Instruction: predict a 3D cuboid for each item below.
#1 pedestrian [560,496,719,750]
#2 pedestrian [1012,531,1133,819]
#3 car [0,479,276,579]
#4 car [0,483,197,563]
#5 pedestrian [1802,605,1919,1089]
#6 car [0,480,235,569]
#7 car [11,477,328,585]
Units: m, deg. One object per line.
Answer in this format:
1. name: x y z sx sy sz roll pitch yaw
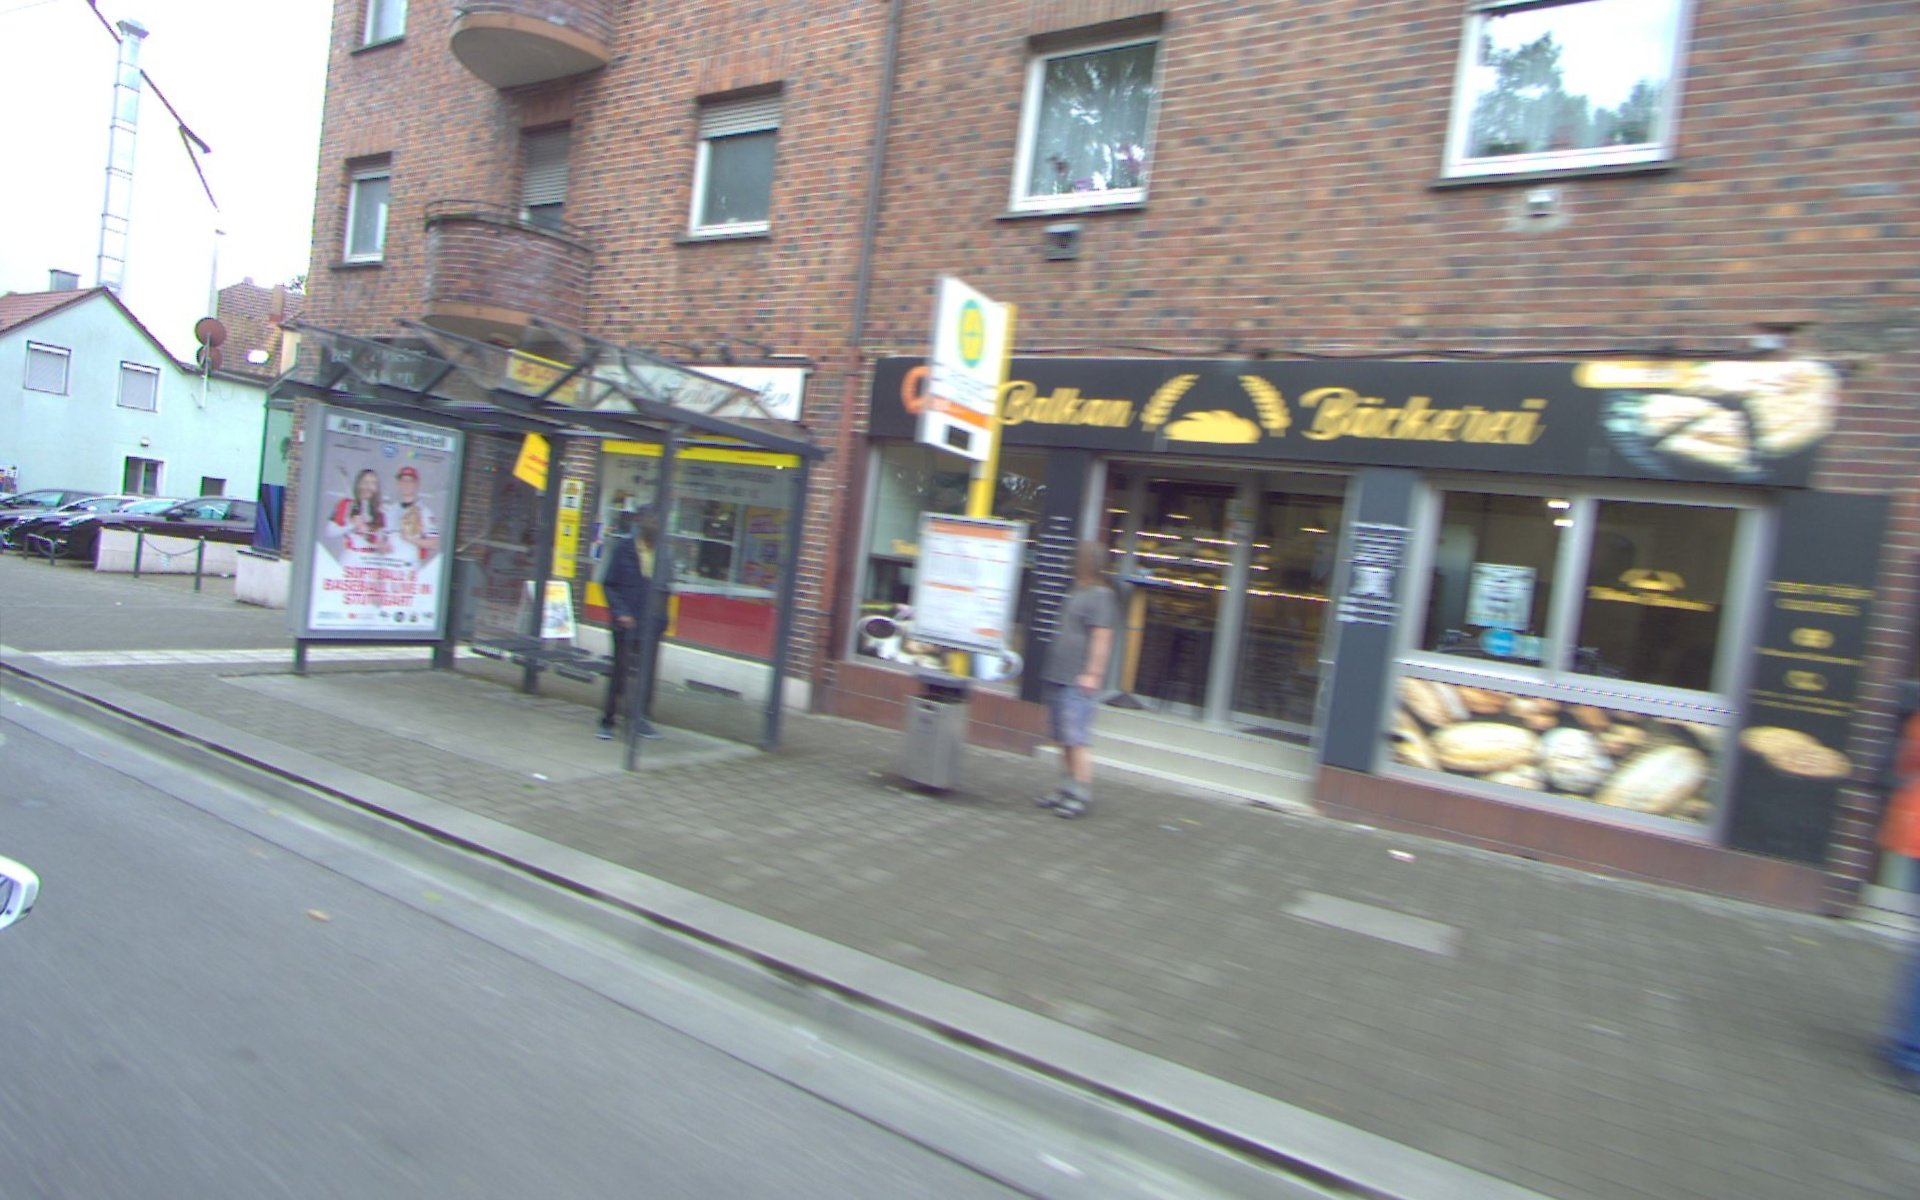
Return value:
1. pedestrian: -2.380 0.159 7.481 0.752 1.750 0.669 7 2 37
2. pedestrian: 0.742 0.475 6.611 0.450 1.788 0.479 7 2 31
3. car: -18.175 -1.544 22.196 4.864 1.560 1.984 6 1 -30
4. car: -22.377 -1.985 25.263 4.867 1.488 1.912 6 1 -32
5. pedestrian: 3.632 0.890 3.615 0.562 1.658 0.673 5 2 -38
6. car: -20.211 -1.787 23.735 4.870 1.512 1.838 6 1 -34
7. car: -15.976 -1.362 20.745 4.862 1.696 1.983 4 3 -31
